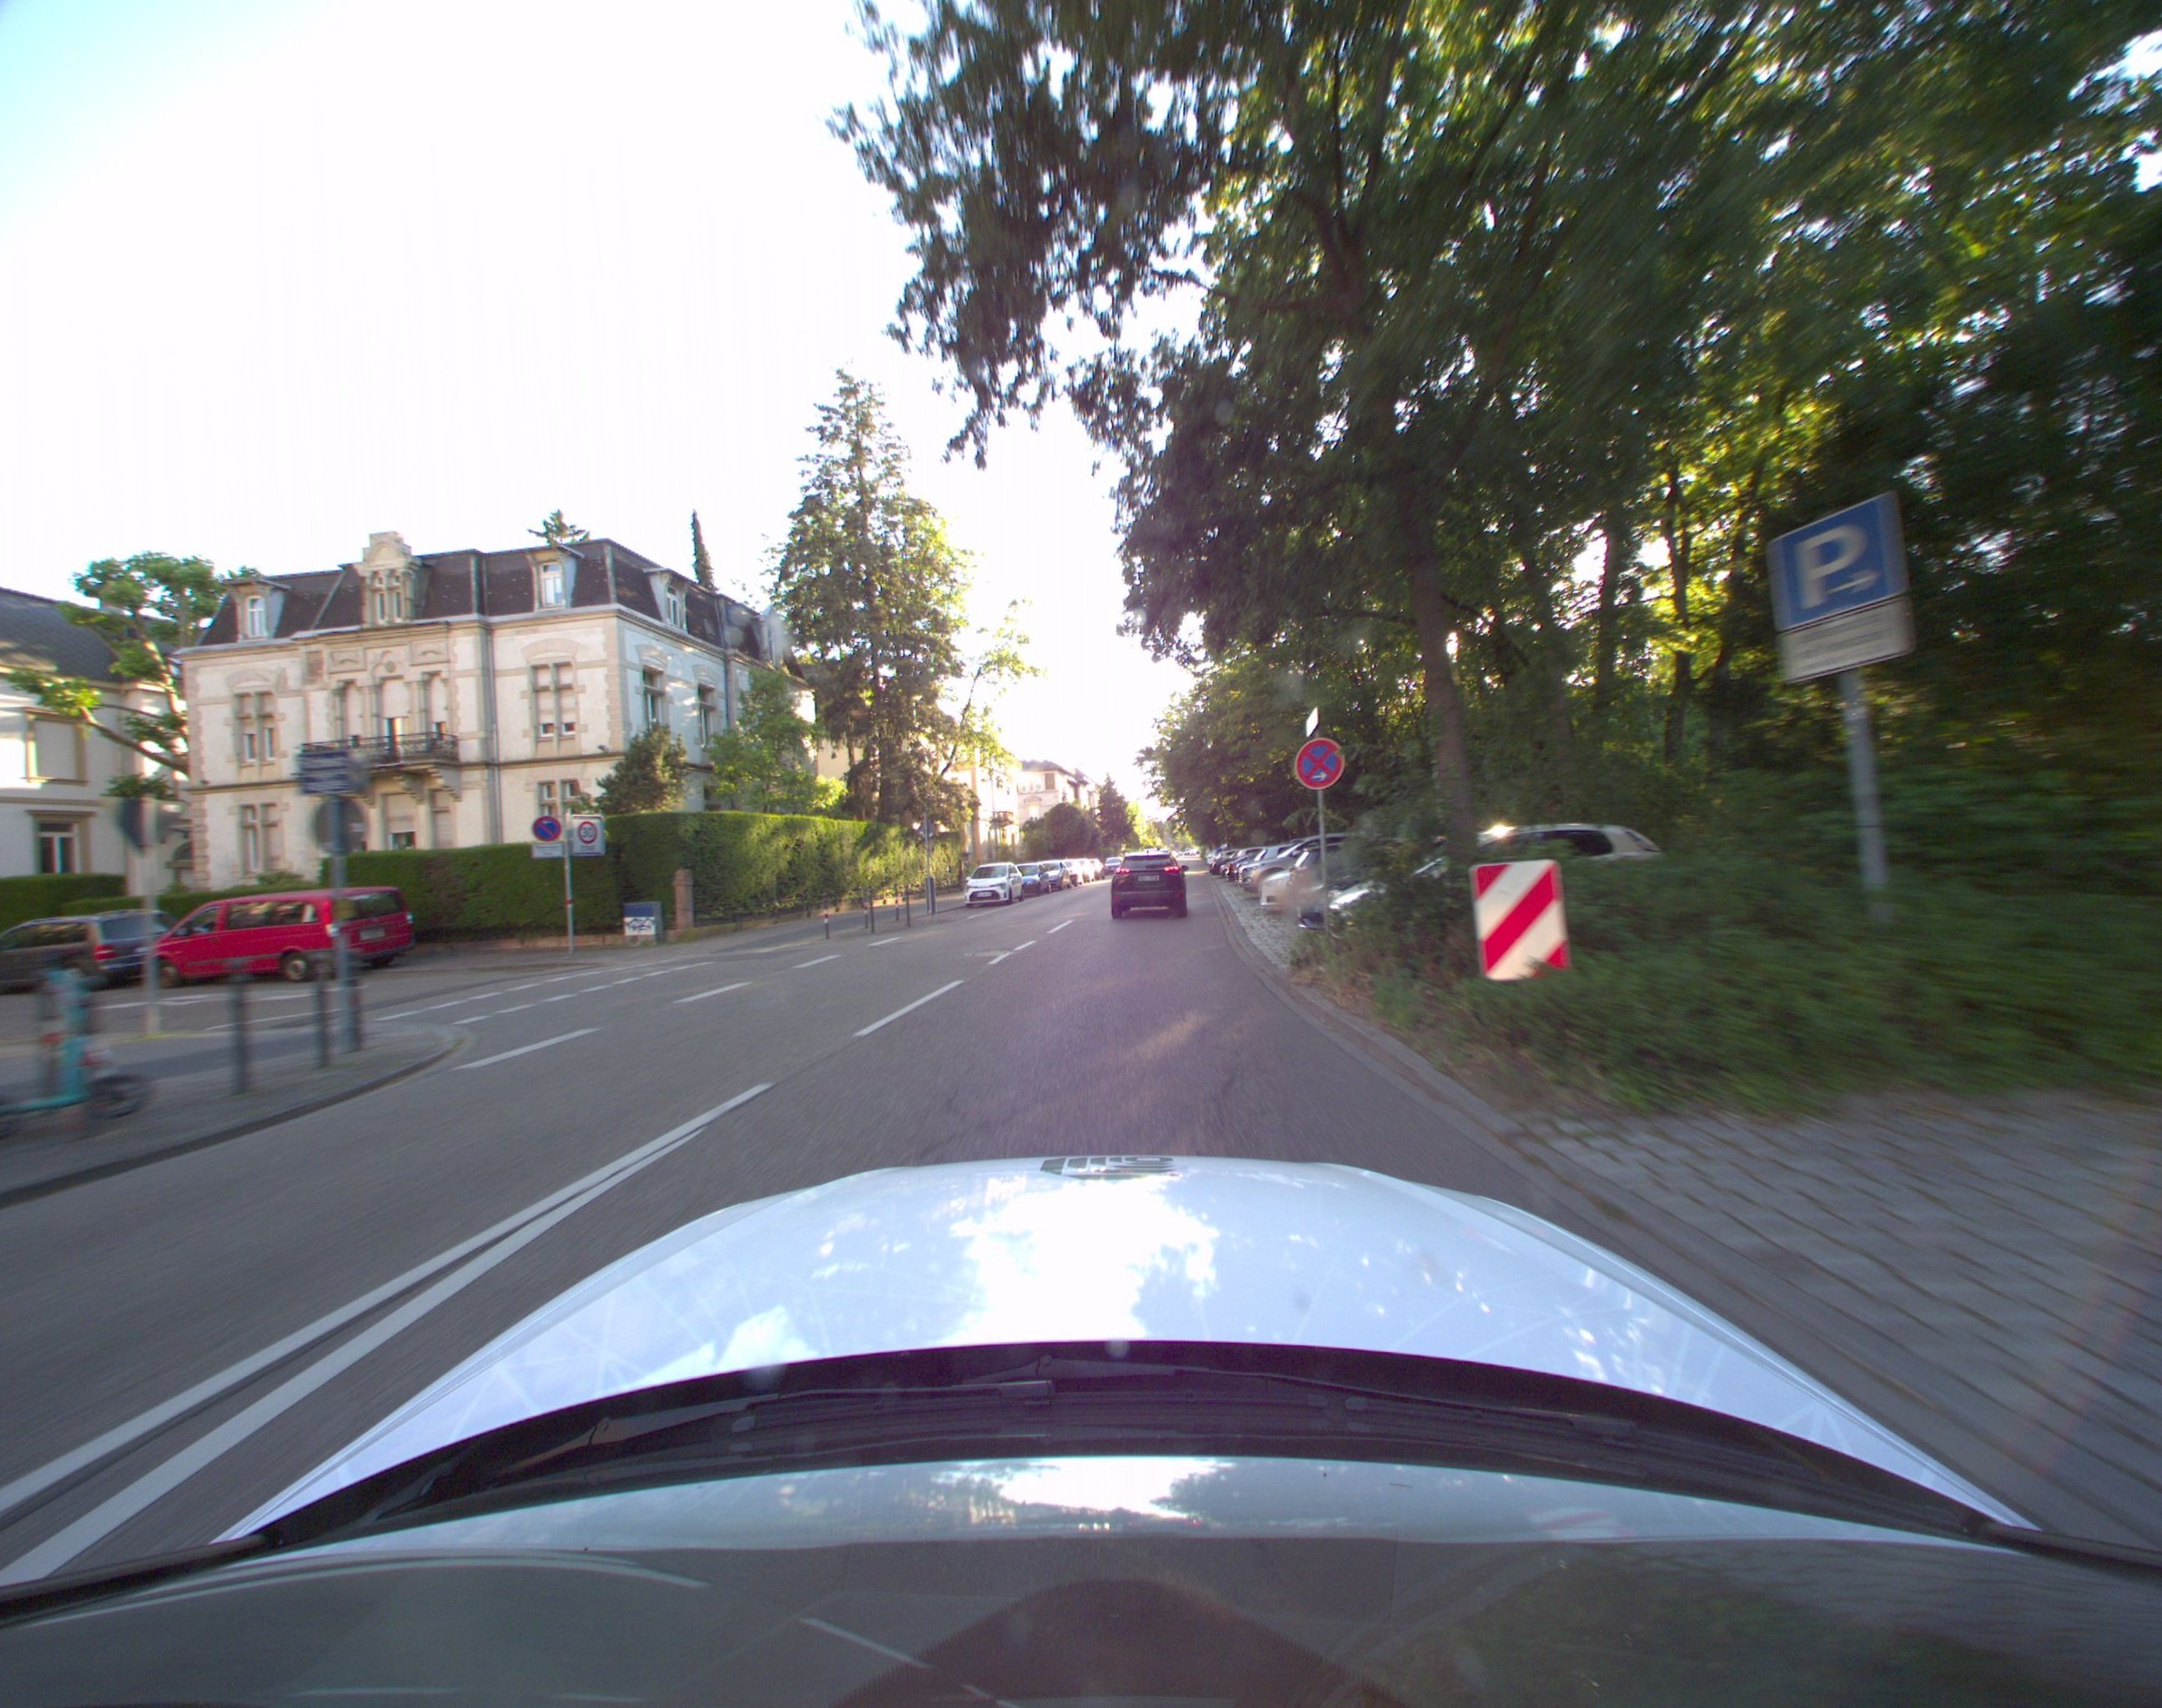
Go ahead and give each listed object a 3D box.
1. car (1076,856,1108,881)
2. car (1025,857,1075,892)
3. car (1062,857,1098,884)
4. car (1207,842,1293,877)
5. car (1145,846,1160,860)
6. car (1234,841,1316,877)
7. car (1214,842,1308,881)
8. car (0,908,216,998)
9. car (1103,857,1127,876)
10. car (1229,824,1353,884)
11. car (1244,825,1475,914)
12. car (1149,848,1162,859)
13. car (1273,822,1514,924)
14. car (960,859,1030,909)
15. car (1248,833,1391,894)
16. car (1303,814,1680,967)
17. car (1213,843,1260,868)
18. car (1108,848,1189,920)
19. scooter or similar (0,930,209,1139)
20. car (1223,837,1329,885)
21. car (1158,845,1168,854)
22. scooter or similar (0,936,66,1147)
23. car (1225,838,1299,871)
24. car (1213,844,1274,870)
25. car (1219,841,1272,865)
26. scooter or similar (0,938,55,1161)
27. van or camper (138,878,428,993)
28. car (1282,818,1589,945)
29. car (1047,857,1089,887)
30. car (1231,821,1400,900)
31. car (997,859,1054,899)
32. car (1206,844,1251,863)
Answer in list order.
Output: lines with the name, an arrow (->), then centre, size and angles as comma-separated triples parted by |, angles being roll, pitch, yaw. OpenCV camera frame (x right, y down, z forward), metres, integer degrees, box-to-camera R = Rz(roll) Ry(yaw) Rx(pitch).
car -> 0.787, 0.957, 55.730 | 1.604, 1.466, 4.045 | -4, 0, 8
car -> -1.446, 0.978, 39.881 | 1.604, 1.466, 4.045 | -4, 0, 8
car -> -0.011, 0.998, 51.033 | 1.604, 1.466, 4.045 | -4, 0, 8
car -> 8.974, 0.309, 43.600 | 4.222, 1.448, 2.025 | -5, 0, 5
car -> 11.210, -0.157, 127.396 | 1.982, 2.013, 4.010 | -4, 0, 9
car -> 9.677, 0.244, 40.816 | 3.783, 1.448, 1.832 | -5, 0, 11
car -> 8.475, 0.352, 38.455 | 4.131, 1.448, 1.736 | -5, 0, 11
car -> -22.817, 2.257, 18.734 | 3.965, 1.673, 1.924 | -4, 0, 7
car -> 3.001, 1.122, 71.915 | 1.743, 1.413, 3.771 | -6, 0, 6
car -> 7.872, 0.016, 30.847 | 4.222, 1.789, 1.888 | -6, -1, 7
car -> 6.091, 0.327, 18.184 | 4.469, 1.554, 1.857 | -4, 0, 0
car -> 12.802, -0.148, 139.188 | 1.983, 1.768, 4.009 | -4, 0, 7
car -> 5.844, 0.333, 15.669 | 3.965, 1.554, 1.756 | -4, 1, 7
car -> -3.049, 1.024, 29.532 | 1.605, 1.515, 3.718 | -6, 0, 6
car -> 7.327, 0.291, 25.317 | 3.965, 1.554, 1.729 | -4, 0, 7
car -> 5.096, 0.451, 10.612 | 3.965, 1.554, 1.729 | -4, 0, 7
car -> 14.273, 0.152, 75.090 | 3.970, 2.089, 1.759 | -4, 0, 3
car -> 1.588, 0.650, 20.352 | 1.765, 1.568, 4.110 | -1, 1, 2
scooter or similar -> -7.115, 1.239, 5.645 | 1.347, 1.275, 0.428 | -3, -1, -28
car -> 7.964, 0.280, 33.519 | 3.965, 1.554, 1.729 | -6, -1, 7
car -> 17.950, -1.027, 178.131 | 1.982, 1.816, 4.009 | -4, 0, 8
scooter or similar -> -7.374, 1.222, 4.984 | 1.347, 1.275, 0.428 | -3, -1, -28
car -> 10.223, 0.031, 46.266 | 3.791, 1.448, 1.879 | -5, 0, 4
car -> 11.097, 0.193, 55.702 | 3.791, 1.448, 1.828 | -5, 0, 3
car -> 13.220, -0.079, 65.628 | 3.970, 1.624, 1.759 | -4, 0, 3
scooter or similar -> -6.874, 1.191, 4.546 | 0.426, 1.275, 1.352 | -4, -1, 43
van or camper -> -17.686, 1.786, 18.176 | 4.739, 1.985, 2.006 | -4, 4, 10
car -> 5.294, 0.388, 12.635 | 3.965, 1.554, 1.729 | -4, 1, 7
car -> -0.701, 0.957, 45.620 | 1.604, 1.466, 4.045 | -4, 0, 8
car -> 6.621, 0.176, 23.467 | 4.284, 1.804, 2.039 | -5, -1, 7
car -> -2.335, 1.034, 35.170 | 1.605, 1.485, 3.750 | -4, 0, 7
car -> 14.046, -0.053, 77.895 | 3.970, 1.526, 1.759 | -4, 0, 3
